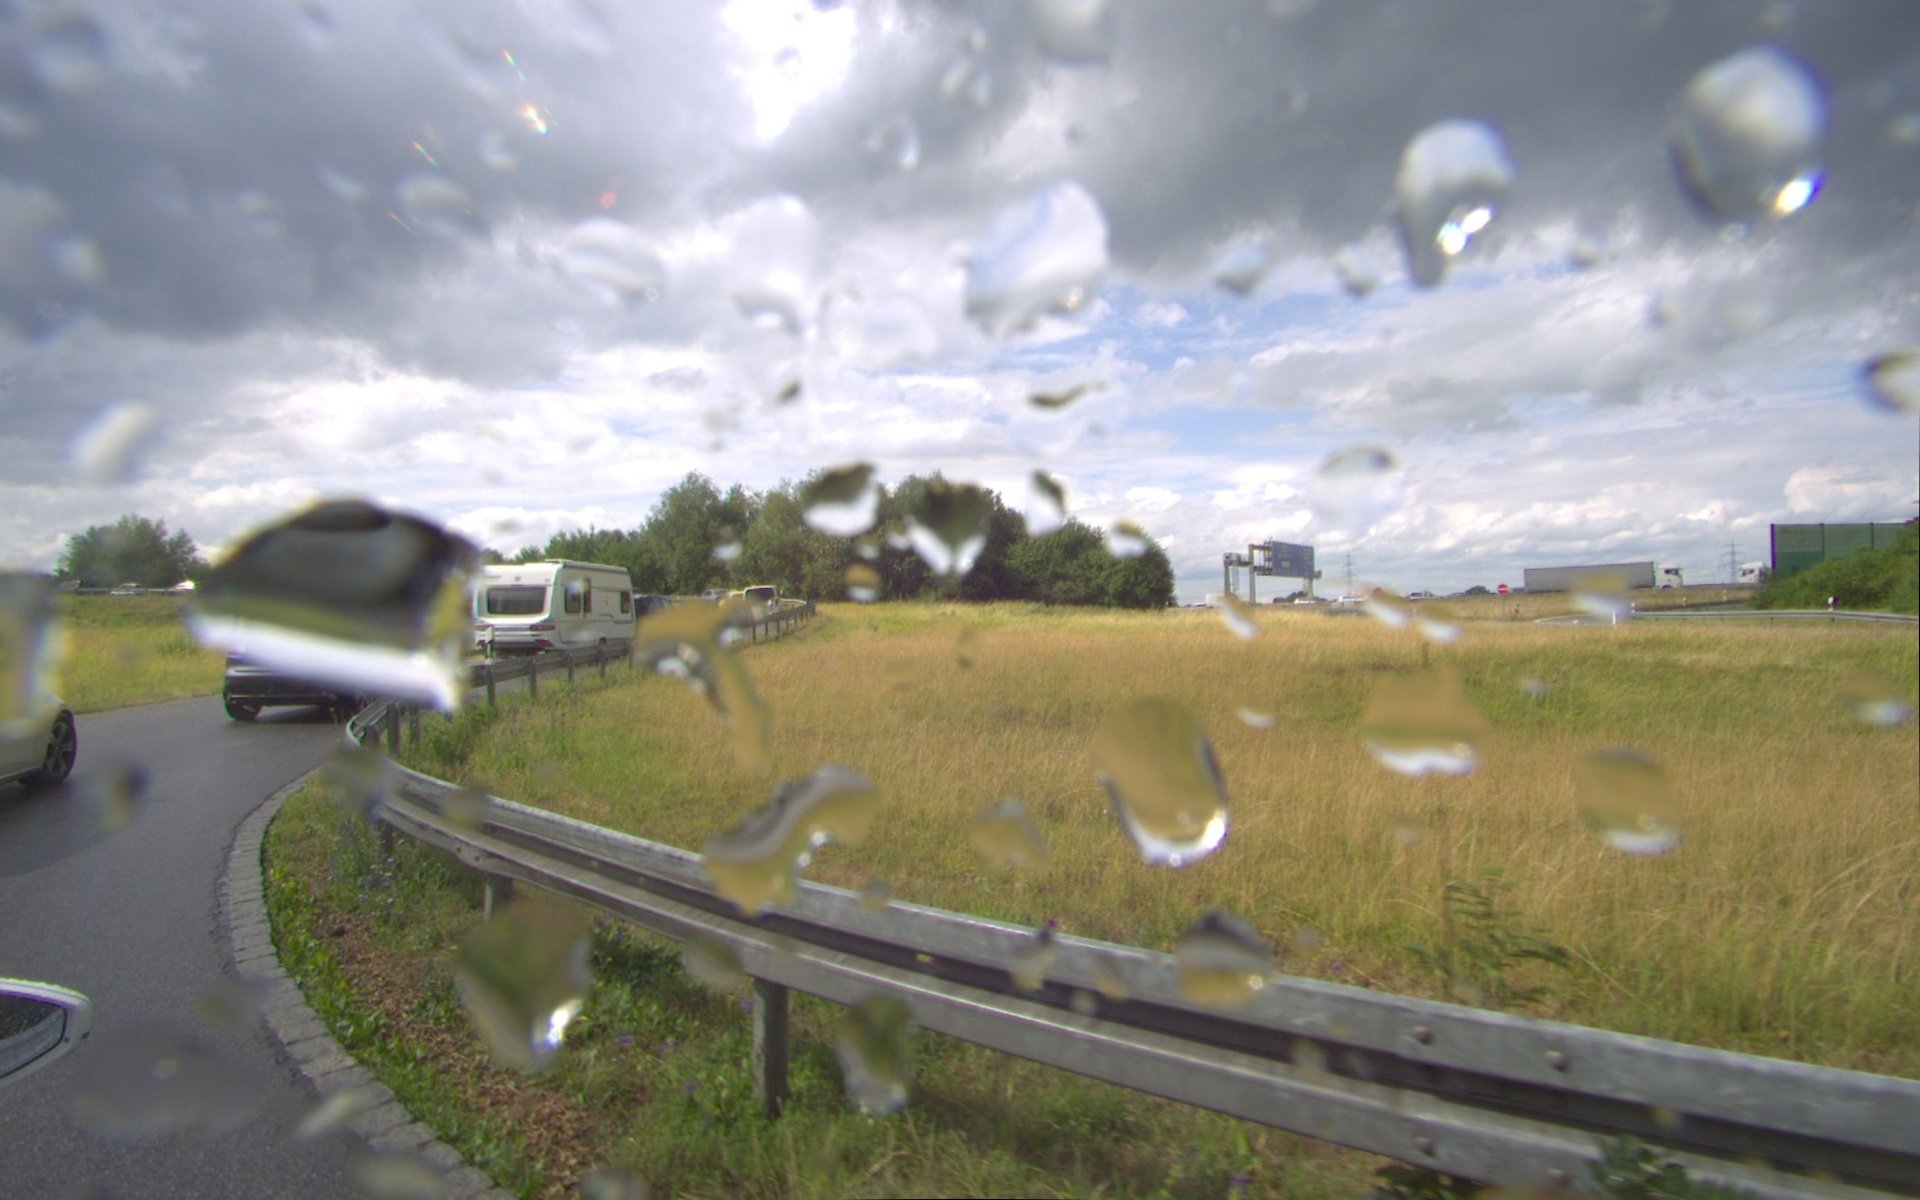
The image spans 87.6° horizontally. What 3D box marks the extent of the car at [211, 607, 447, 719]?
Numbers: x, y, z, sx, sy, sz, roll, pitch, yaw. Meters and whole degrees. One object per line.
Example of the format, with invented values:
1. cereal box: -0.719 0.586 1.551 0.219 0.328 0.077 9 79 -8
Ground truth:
1. car: -9.749 0.893 15.872 1.691 1.545 3.998 0 -1 -9

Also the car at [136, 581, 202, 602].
1. car: -75.638 -0.816 95.782 4.959 1.886 2.000 -1 0 5

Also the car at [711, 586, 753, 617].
1. car: -14.447 0.120 63.331 1.966 1.885 5.045 0 -1 -20

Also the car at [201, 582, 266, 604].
1. car: -67.900 -0.653 93.632 4.426 1.886 1.999 -1 0 -11

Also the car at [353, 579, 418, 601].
1. car: -53.193 -0.911 92.723 4.959 1.886 2.000 -1 0 6

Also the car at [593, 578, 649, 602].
1. car: -28.042 -0.777 82.756 4.989 1.808 1.656 -2 0 34

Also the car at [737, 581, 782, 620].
1. car: -10.523 0.061 52.842 1.962 1.885 5.056 -1 -1 -7

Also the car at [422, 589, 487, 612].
1. car: -45.833 0.046 90.789 4.960 1.886 2.000 -1 0 7

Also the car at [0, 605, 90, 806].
1. car: -8.110 0.804 7.101 1.893 1.527 4.575 0 0 -28

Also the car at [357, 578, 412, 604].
1. car: -52.889 -0.845 92.081 3.923 2.039 2.001 -4 -2 5

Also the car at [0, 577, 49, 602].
1. car: -82.427 -0.901 87.658 3.959 2.039 1.811 1 -3 -42

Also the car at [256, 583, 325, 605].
1. car: -61.567 -0.579 92.131 4.959 1.886 2.000 -1 0 -3

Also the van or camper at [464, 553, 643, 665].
1. van or camper: -11.082 0.250 27.953 2.391 2.765 6.001 0 0 2

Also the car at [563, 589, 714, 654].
1. car: -10.538 0.672 33.479 2.390 1.951 5.758 1 0 10

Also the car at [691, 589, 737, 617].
1. car: -17.567 0.224 71.298 1.970 1.885 5.035 -1 -1 -28
